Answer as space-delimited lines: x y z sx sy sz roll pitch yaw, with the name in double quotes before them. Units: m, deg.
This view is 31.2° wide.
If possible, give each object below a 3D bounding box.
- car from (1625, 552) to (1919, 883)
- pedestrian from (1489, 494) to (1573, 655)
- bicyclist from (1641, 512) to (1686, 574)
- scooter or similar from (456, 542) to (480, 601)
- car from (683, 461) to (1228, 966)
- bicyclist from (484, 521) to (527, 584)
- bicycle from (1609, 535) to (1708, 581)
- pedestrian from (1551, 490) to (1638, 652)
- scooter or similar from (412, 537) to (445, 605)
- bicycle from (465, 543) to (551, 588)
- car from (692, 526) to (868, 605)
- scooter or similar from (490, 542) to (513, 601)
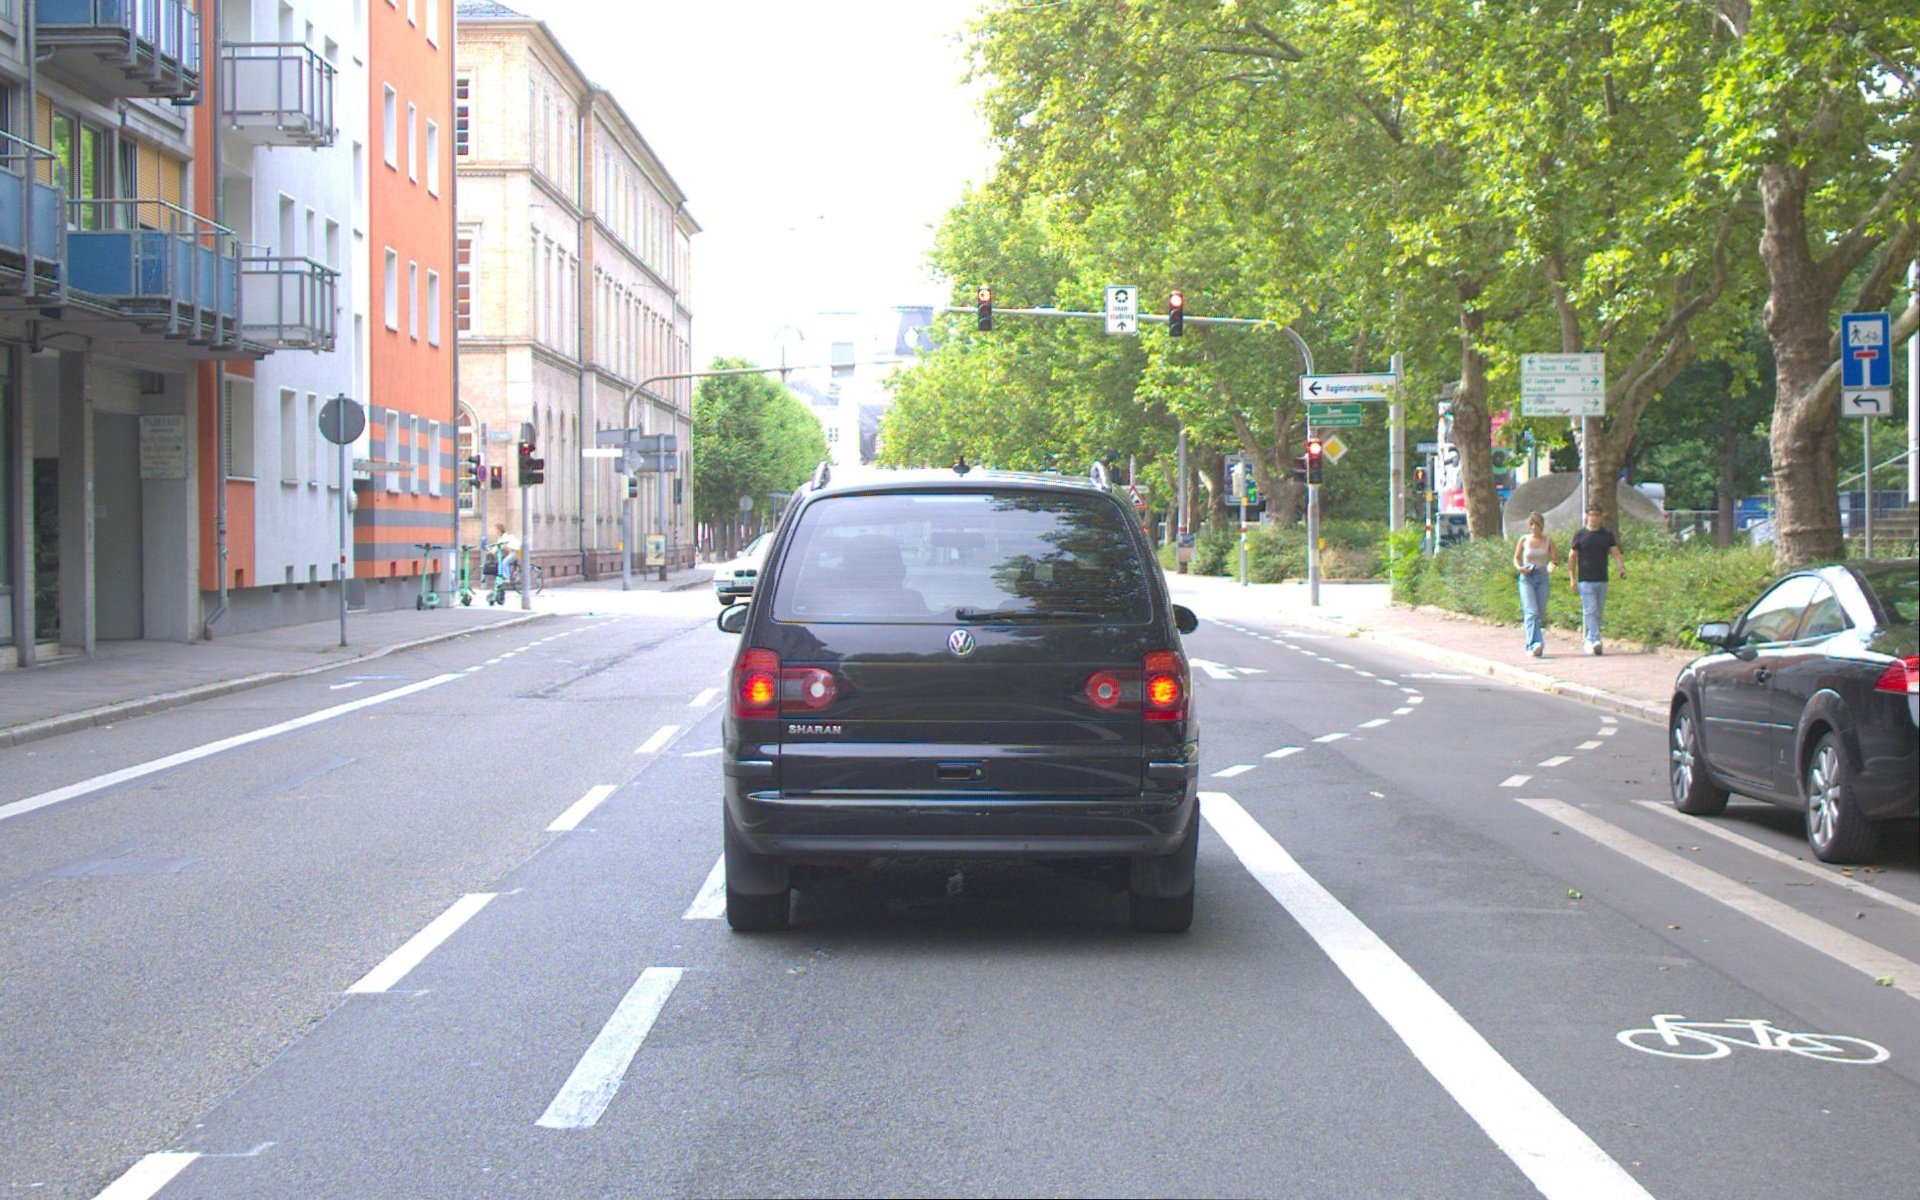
"car" 4.757 0.505 17.399 1.697 1.420 4.423 1 1 -3
"pedestrian" 6.499 -0.294 39.155 0.710 1.777 1.034 -2 1 -1
"bicyclist" 16.852 -1.363 82.347 0.914 1.488 0.626 0 1 -4
"scooter or similar" -9.570 -0.550 66.865 0.378 1.143 1.142 0 0 -4
"car" -0.052 0.338 14.135 1.874 1.739 4.574 0 1 -1
"bicyclist" -10.532 -1.103 79.655 0.914 1.461 0.570 1 1 -12
"bicycle" 16.726 -1.015 82.351 2.233 1.090 0.627 0 1 -4
"pedestrian" 7.224 -0.332 39.178 0.715 1.794 1.034 -2 1 -1
"scooter or similar" -9.374 -0.498 60.648 0.378 1.179 1.390 0 0 0
"bicycle" -10.479 -0.803 79.676 1.924 1.025 0.583 1 1 -13
"car" -3.509 -0.698 67.812 1.759 1.422 4.094 -1 1 24
"scooter or similar" -8.970 -0.560 67.295 0.378 1.140 1.142 0 0 -4
